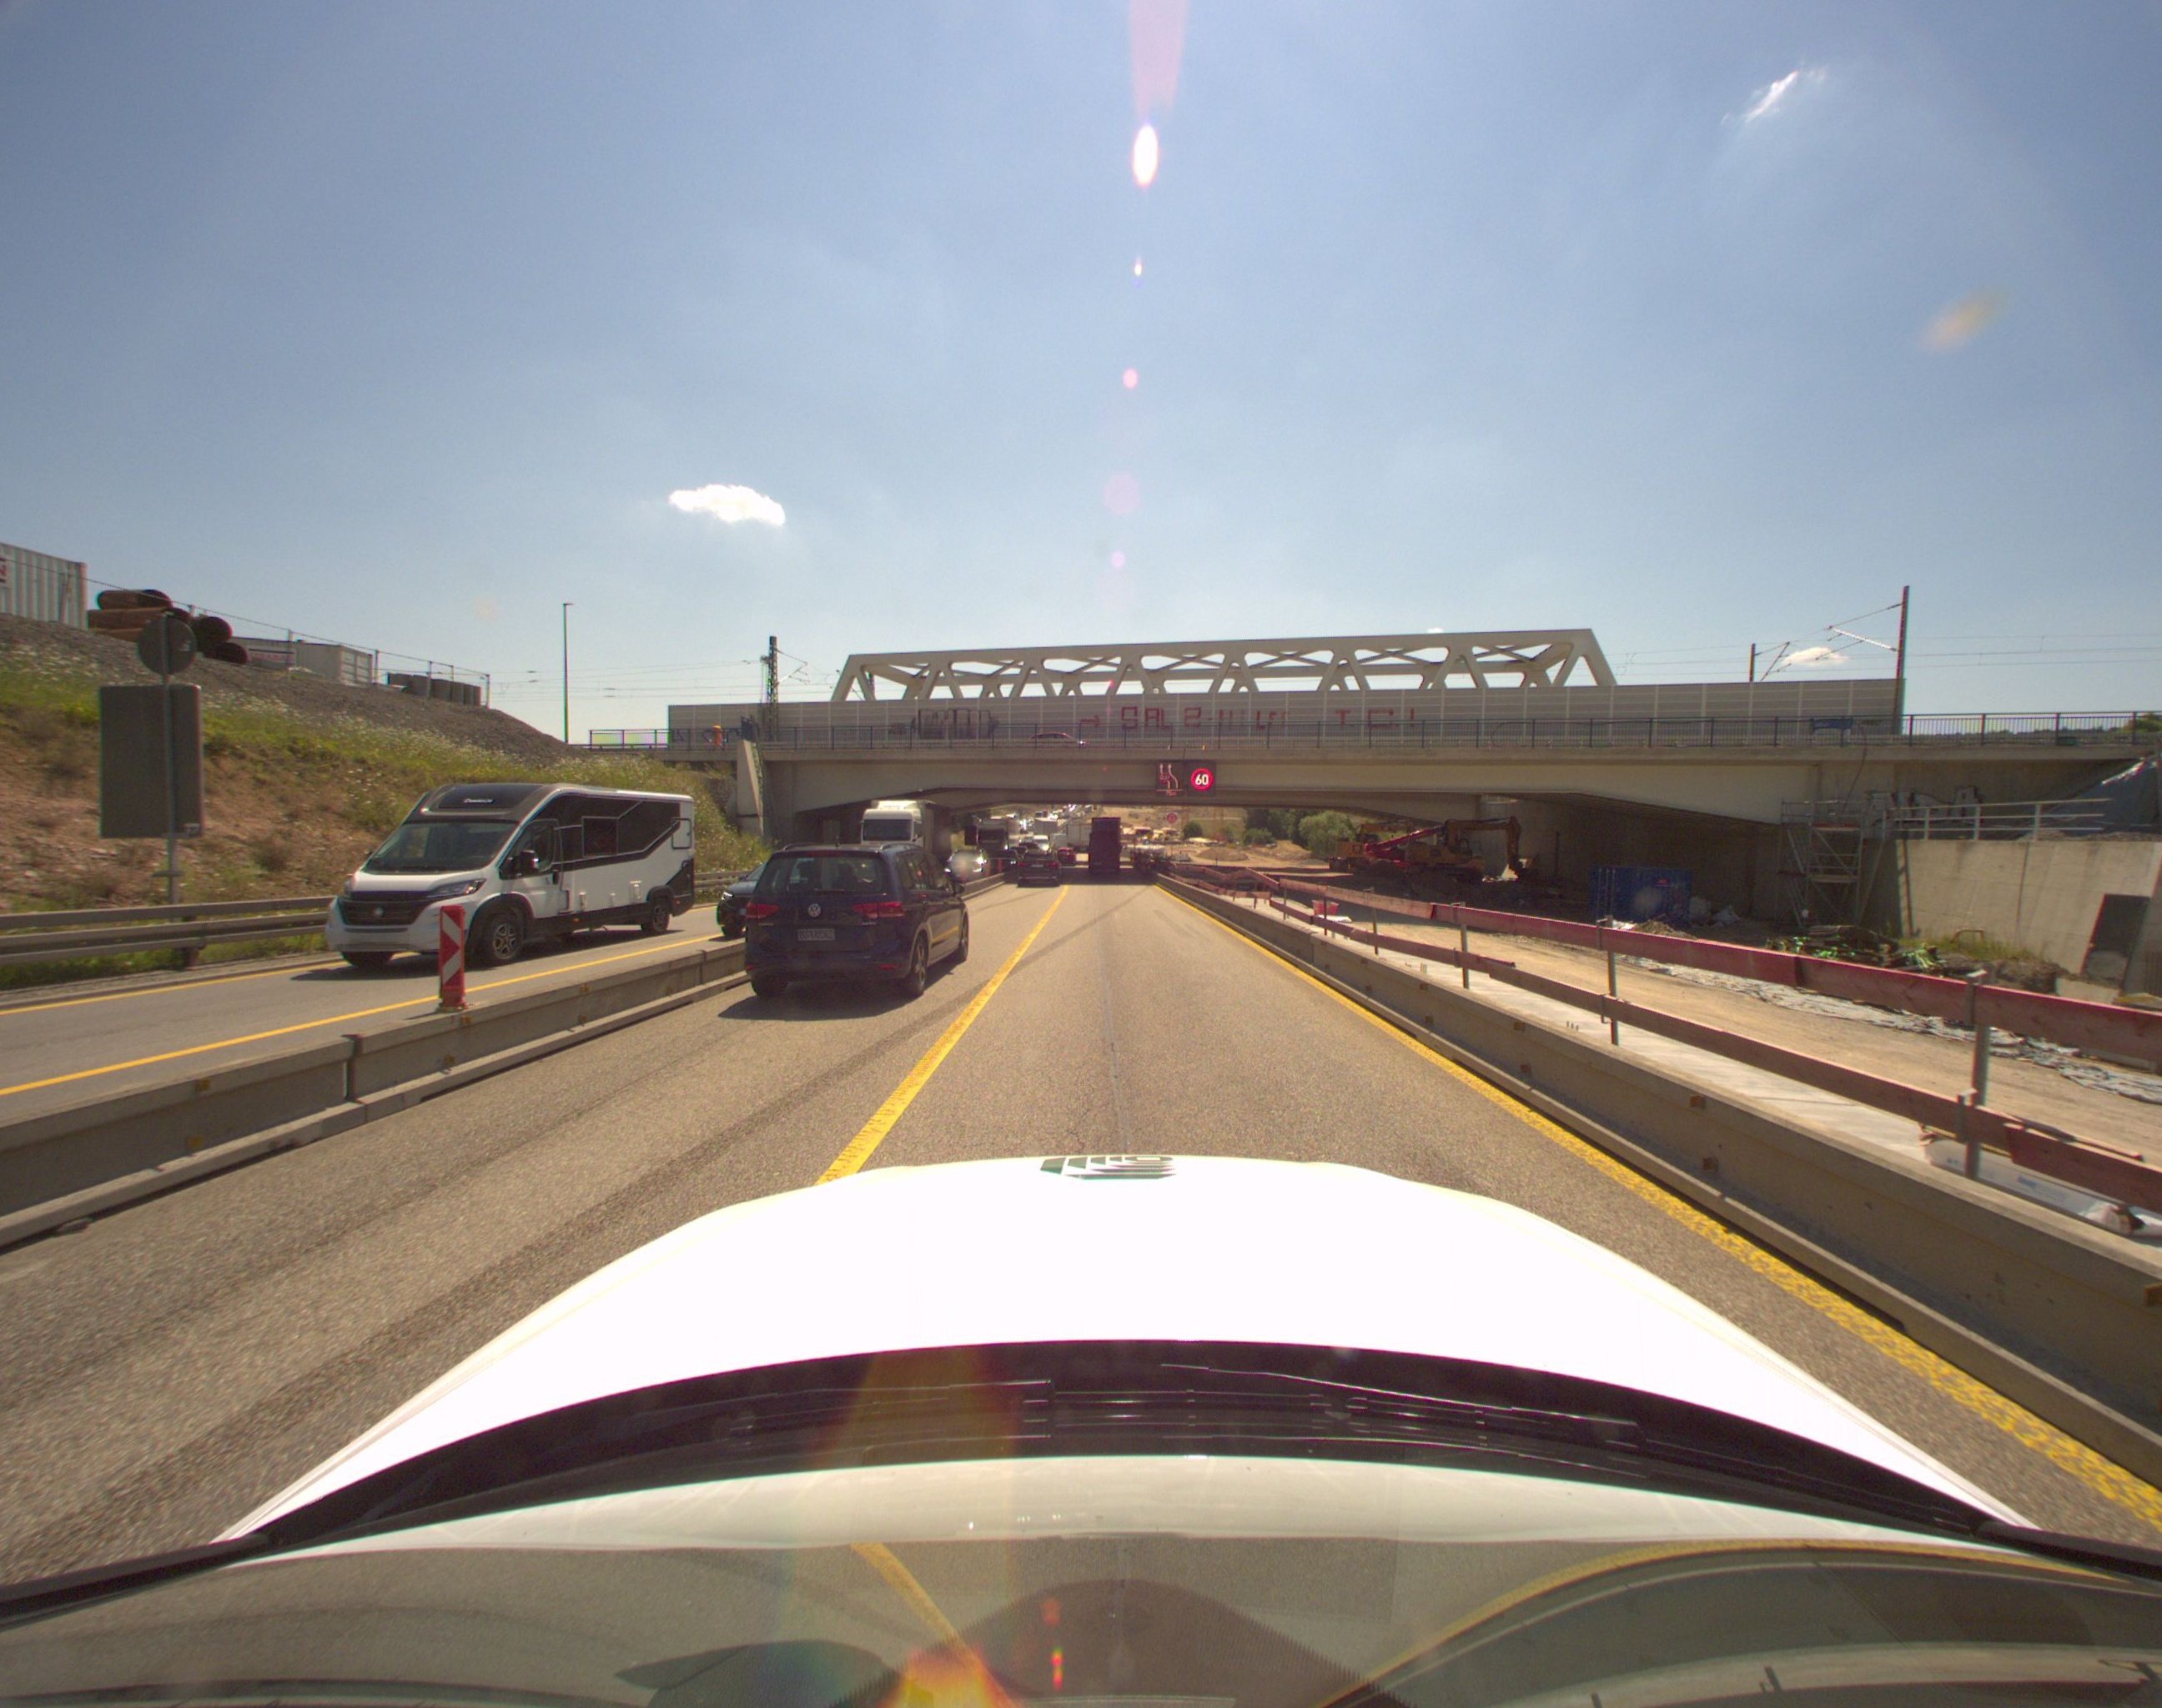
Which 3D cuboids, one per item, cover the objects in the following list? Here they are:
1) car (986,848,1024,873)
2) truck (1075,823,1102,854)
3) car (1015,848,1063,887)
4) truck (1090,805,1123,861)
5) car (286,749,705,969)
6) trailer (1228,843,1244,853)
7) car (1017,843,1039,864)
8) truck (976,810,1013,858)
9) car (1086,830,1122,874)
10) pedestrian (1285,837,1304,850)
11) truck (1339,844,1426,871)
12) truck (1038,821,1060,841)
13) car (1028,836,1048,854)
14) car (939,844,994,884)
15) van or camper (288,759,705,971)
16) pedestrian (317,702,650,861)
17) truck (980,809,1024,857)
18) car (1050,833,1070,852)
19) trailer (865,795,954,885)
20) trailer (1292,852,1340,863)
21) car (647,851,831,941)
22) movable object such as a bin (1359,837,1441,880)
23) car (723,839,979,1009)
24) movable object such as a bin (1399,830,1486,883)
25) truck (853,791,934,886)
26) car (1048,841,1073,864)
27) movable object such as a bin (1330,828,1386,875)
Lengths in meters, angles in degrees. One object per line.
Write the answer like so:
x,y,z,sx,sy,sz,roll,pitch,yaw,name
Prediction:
-4.758,0.426,51.407,1.849,1.527,4.774,0,-1,1,car
0.950,-2.202,111.609,3.176,3.988,6.733,0,3,-4,truck
-1.839,0.567,36.778,1.827,1.635,4.390,0,0,1,car
2.379,-1.998,75.117,2.933,4.944,6.747,0,3,2,truck
-9.027,0.092,13.741,2.268,2.821,6.558,0,-1,0,car
23.827,-0.989,125.057,1.619,1.486,3.823,1,1,-2,trailer
-4.852,-0.074,74.993,1.794,1.932,4.967,0,1,0,car
-7.885,-1.777,74.756,2.649,4.171,5.188,0,-1,2,truck
1.458,-0.090,51.446,2.142,2.611,5.440,0,-1,2,car
34.102,-1.648,129.912,1.987,2.014,4.000,0,-1,0,pedestrian
25.850,0.283,70.085,6.491,2.073,2.669,1,1,4,truck
-5.886,-4.157,148.934,3.217,3.360,8.915,0,-1,-8,truck
-5.676,-1.219,106.724,1.980,2.330,6.040,0,1,-9,car
-5.291,0.453,38.221,1.849,1.756,4.609,0,-1,1,car
-8.988,0.138,13.667,2.115,2.705,6.459,0,0,2,van or camper
-8.652,-0.904,12.354,1.986,2.014,4.001,0,-1,2,pedestrian
-7.720,-1.882,81.337,2.759,4.313,13.493,0,-1,1,truck
-2.998,-1.596,113.396,2.263,2.354,5.147,0,3,-8,car
-8.551,-0.610,41.664,2.803,4.174,8.242,0,-1,0,trailer
25.618,0.416,88.870,4.696,1.219,2.056,0,-1,1,trailer
-6.558,0.709,16.160,1.747,1.517,4.188,0,1,2,car
23.794,0.324,60.948,5.214,3.056,2.500,2,-1,5,movable object such as a bin
-2.500,0.674,10.055,1.727,1.635,4.392,0,0,3,car
23.736,0.155,53.682,4.531,3.287,2.995,2,-1,5,movable object such as a bin
-8.559,-0.650,37.698,2.789,4.150,4.072,0,-1,0,truck
-1.689,-0.128,67.147,1.827,1.777,4.391,0,0,2,car
22.056,-0.202,65.063,3.855,3.542,2.912,1,-1,12,movable object such as a bin
